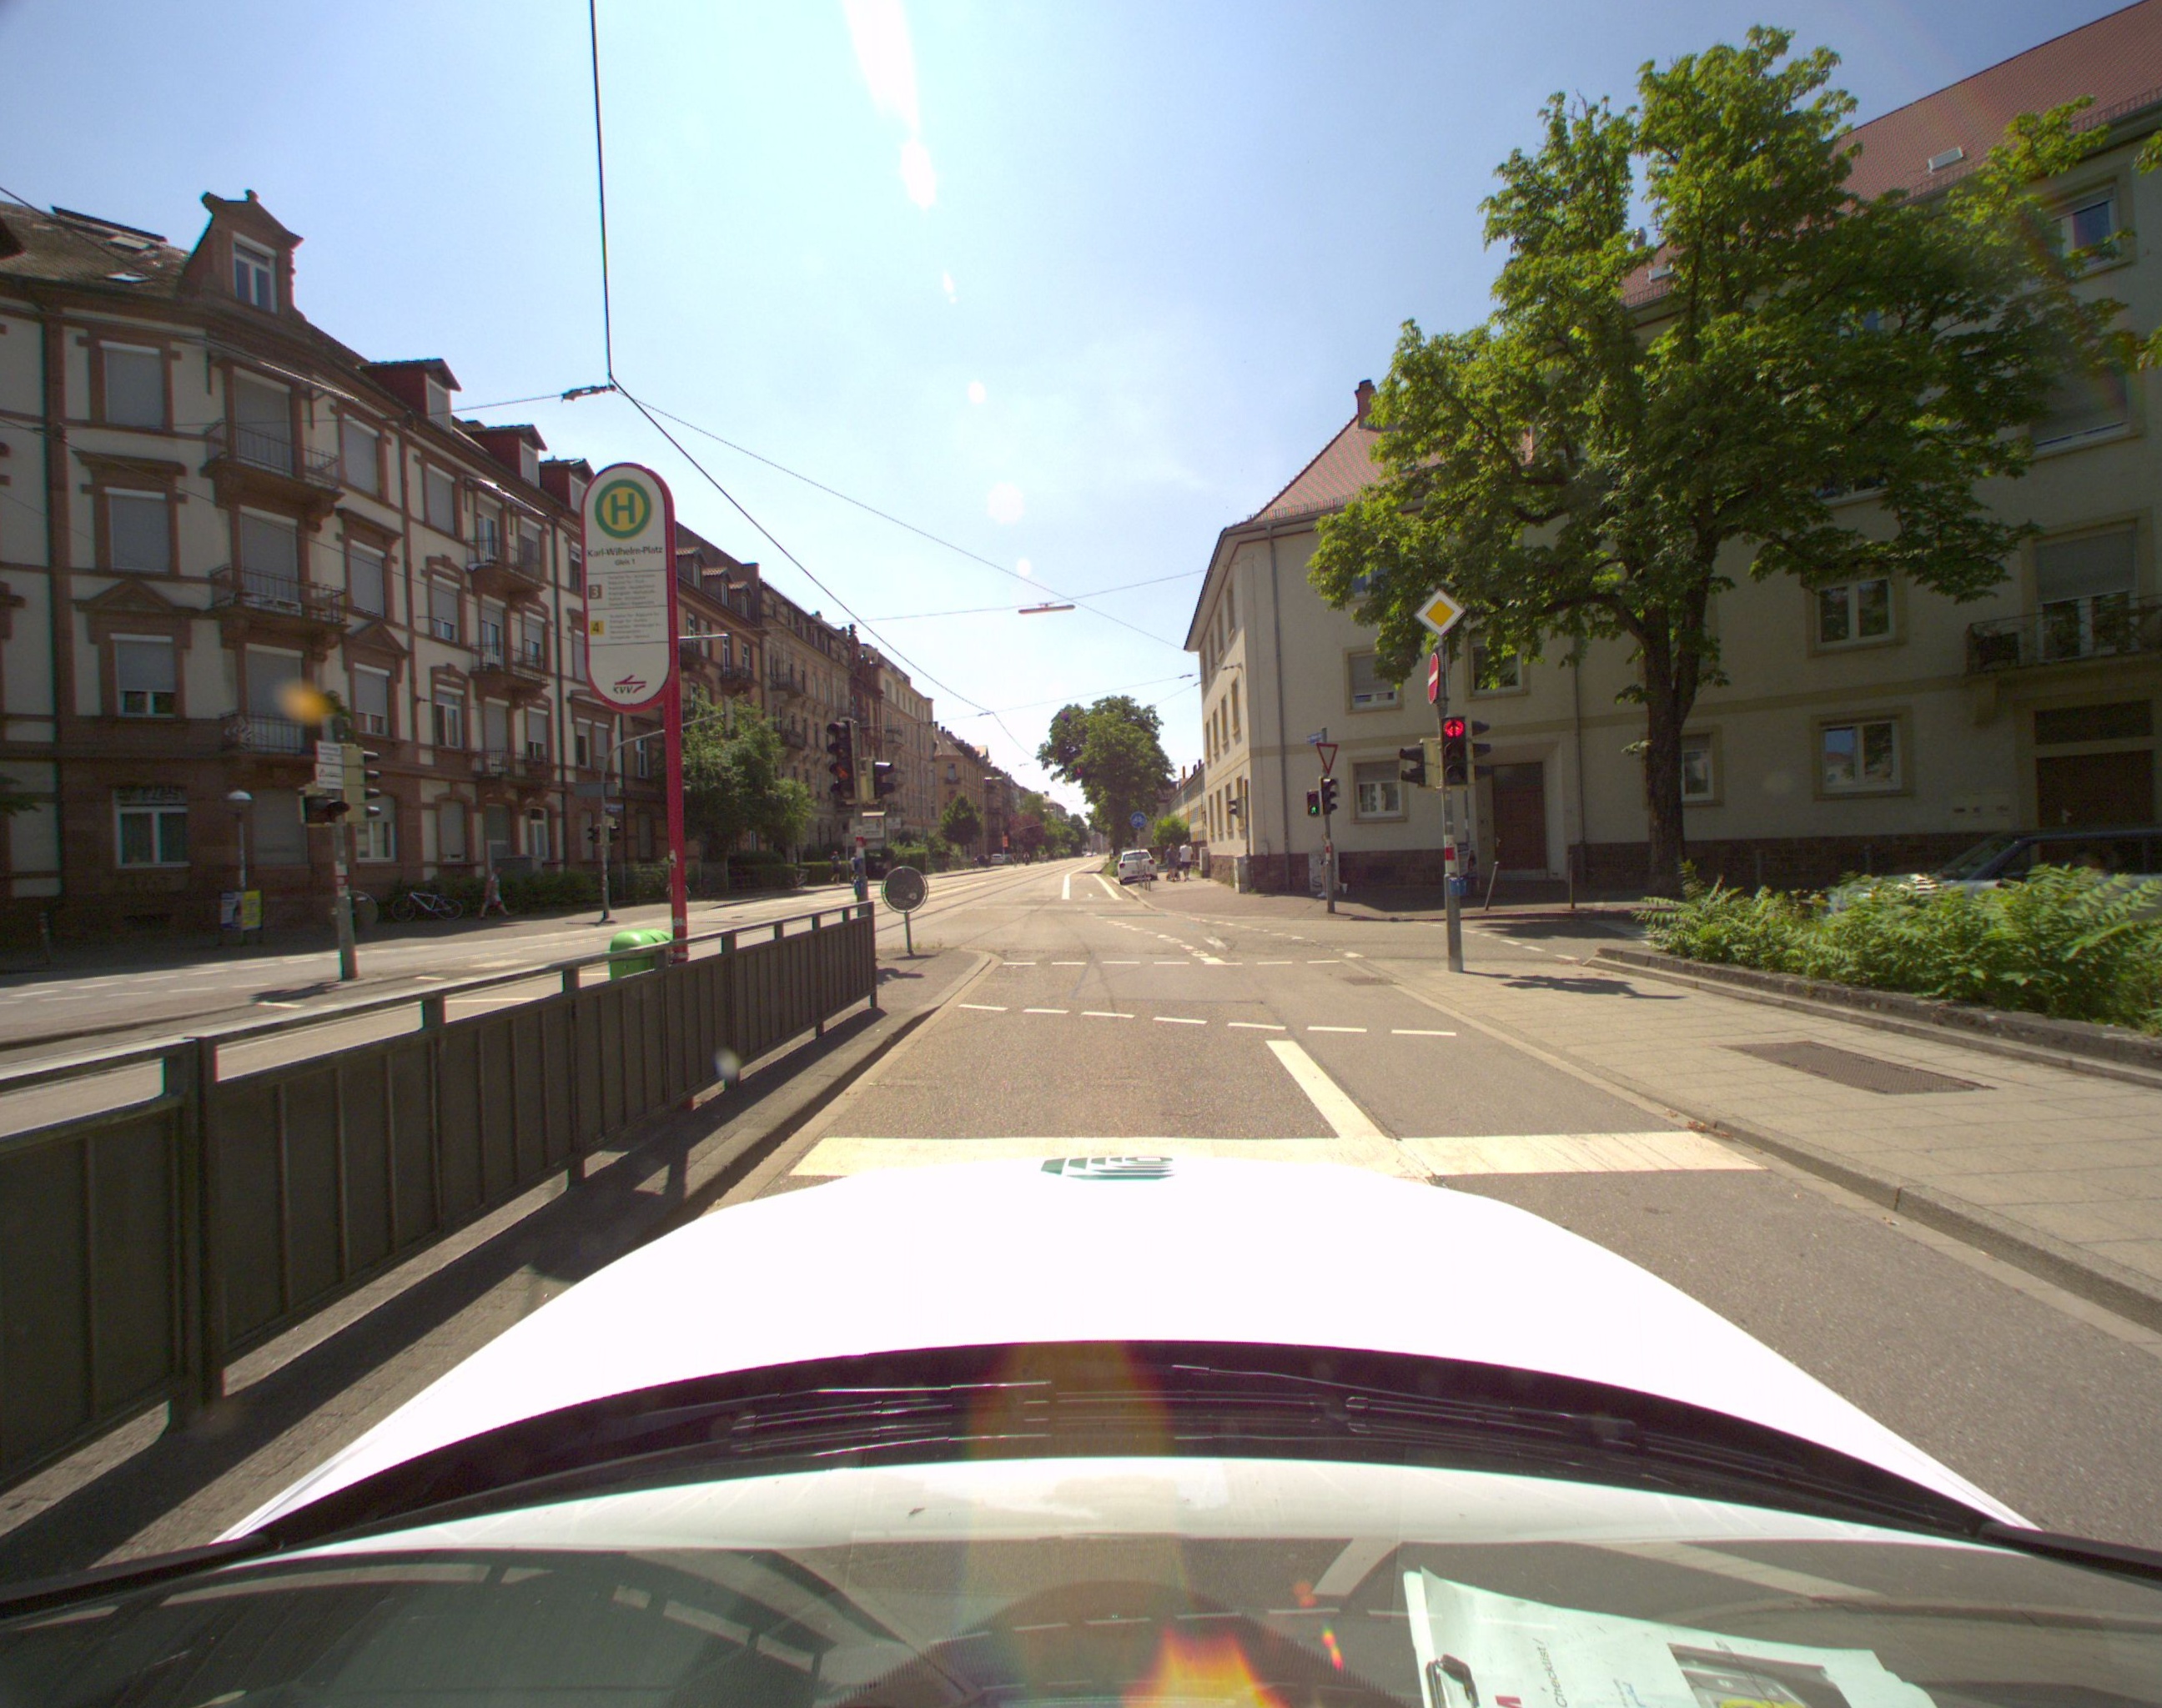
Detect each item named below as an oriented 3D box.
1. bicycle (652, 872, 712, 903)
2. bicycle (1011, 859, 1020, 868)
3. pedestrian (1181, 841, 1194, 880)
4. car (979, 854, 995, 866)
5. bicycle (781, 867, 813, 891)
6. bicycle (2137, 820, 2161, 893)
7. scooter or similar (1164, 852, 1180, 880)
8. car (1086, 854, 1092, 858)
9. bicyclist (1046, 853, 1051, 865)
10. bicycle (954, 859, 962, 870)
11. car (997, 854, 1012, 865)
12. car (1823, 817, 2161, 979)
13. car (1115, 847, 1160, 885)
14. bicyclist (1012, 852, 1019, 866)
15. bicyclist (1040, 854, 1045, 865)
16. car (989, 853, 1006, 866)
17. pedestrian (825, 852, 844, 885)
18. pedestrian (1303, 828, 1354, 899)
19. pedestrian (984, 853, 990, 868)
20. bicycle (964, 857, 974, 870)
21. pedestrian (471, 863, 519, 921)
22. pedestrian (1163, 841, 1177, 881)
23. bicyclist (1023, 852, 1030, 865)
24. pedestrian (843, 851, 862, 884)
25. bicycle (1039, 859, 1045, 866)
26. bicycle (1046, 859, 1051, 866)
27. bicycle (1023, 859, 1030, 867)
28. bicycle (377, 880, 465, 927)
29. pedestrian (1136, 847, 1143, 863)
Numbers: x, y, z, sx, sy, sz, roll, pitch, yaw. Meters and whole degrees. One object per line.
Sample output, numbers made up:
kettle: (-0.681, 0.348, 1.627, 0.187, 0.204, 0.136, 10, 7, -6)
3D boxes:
bicycle: (-15.670, 1.298, 32.082, 0.934, 1.136, 2.774, 0, -1, 1)
bicycle: (-7.867, 1.147, 98.033, 0.724, 1.123, 2.087, 0, -1, 4)
pedestrian: (4.497, 0.277, 34.351, 0.554, 1.645, 0.678, 0, -1, 7)
car: (-14.335, 0.893, 124.467, 1.912, 1.715, 4.001, 0, -1, 2)
bicycle: (-14.382, 1.252, 41.257, 0.936, 1.136, 2.767, 0, -1, -7)
bicycle: (17.011, 0.023, 12.084, 0.527, 1.104, 1.589, -2, 0, -34)
scooter or similar: (3.928, 0.513, 35.002, 0.553, 1.155, 1.209, -1, -1, 12)
car: (2.536, 0.662, 251.848, 1.699, 1.277, 4.001, 0, 0, 2)
bicyclist: (-5.319, 0.807, 133.383, 0.724, 1.818, 1.080, 0, -1, 3)
bicycle: (-12.155, 1.027, 80.499, 0.677, 1.064, 1.912, -2, 0, -9)
car: (-11.663, 0.872, 124.329, 1.912, 1.715, 4.001, 0, -1, 2)
car: (10.291, 0.393, 8.544, 1.715, 1.506, 3.607, -2, 1, -44)
car: (2.524, 0.531, 37.401, 1.808, 1.516, 4.001, -4, -1, 2)
bicyclist: (-7.870, 0.621, 98.044, 0.724, 1.629, 1.080, 0, -1, 3)
bicyclist: (-6.297, 0.836, 133.268, 0.724, 1.818, 1.080, 0, -1, 3)
car: (-11.883, 0.807, 116.065, 1.912, 1.715, 4.001, 0, -1, 2)
pedestrian: (-13.910, 0.792, 45.908, 0.814, 1.822, 0.873, 0, 1, -3)
pedestrian: (6.391, 0.236, 21.012, 1.045, 1.690, 0.657, -6, 3, 20)
pedestrian: (-10.430, 0.766, 90.654, 0.519, 1.659, 0.529, -2, 0, 1)
bicycle: (-11.711, 0.954, 85.136, 0.675, 1.278, 1.918, -2, 0, -1)
pedestrian: (-17.810, 1.137, 24.754, 1.068, 1.689, 0.714, -2, 0, -44)
pedestrian: (3.707, 0.280, 34.055, 0.554, 1.645, 0.678, 0, -1, 7)
bicyclist: (-7.374, 0.632, 110.366, 0.724, 1.768, 1.080, 0, -1, 3)
pedestrian: (-12.982, 0.774, 46.322, 0.814, 1.822, 0.873, 0, 1, -3)
bicycle: (-6.302, 1.457, 133.210, 0.724, 1.123, 2.087, 0, -1, 4)
bicycle: (-5.310, 1.423, 133.434, 0.724, 1.123, 2.087, 0, -1, 4)
bicycle: (-7.386, 1.255, 110.263, 0.724, 1.123, 2.087, 0, -1, 4)
bicycle: (-19.555, 1.435, 24.160, 0.557, 1.294, 1.975, -1, -1, 43)
pedestrian: (5.788, 0.066, 80.653, 0.519, 1.562, 0.573, -2, 0, 1)
